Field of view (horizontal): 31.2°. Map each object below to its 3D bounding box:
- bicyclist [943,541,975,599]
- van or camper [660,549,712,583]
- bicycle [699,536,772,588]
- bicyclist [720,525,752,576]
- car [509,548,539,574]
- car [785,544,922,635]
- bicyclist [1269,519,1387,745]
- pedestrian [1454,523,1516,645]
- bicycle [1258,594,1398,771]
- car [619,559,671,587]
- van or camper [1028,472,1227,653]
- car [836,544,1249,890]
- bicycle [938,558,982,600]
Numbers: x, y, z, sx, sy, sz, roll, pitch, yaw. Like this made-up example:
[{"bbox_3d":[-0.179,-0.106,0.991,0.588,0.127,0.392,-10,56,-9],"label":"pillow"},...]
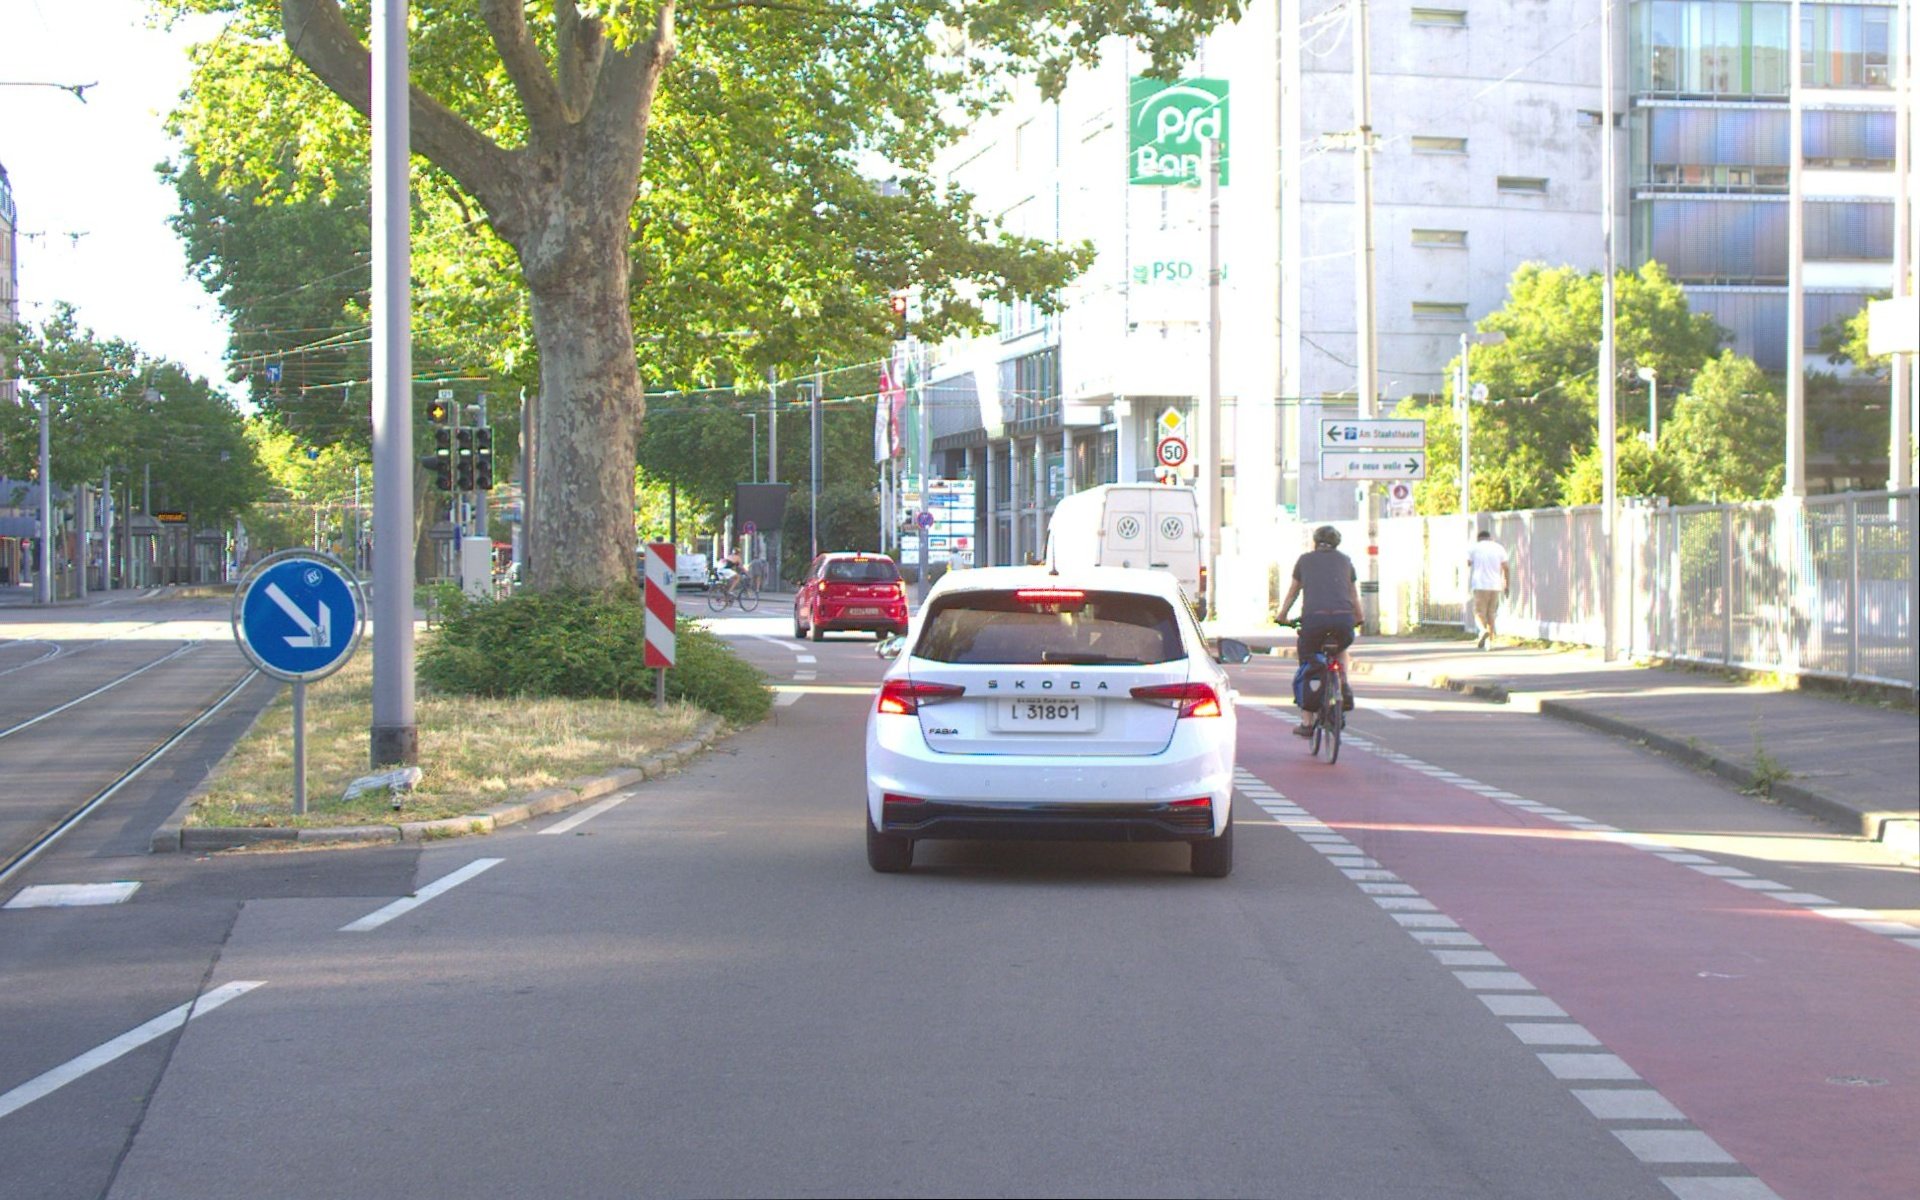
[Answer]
[{"bbox_3d":[-0.036,-0.862,97.212,0.785,1.629,0.639,0,1,-11],"label":"bicyclist"},{"bbox_3d":[-14.601,-1.840,183.013,2.145,1.744,4.433,-1,1,-12],"label":"van or camper"},{"bbox_3d":[-6.060,-1.032,93.006,1.989,1.374,0.647,-1,1,-42],"label":"bicycle"},{"bbox_3d":[-6.065,-1.340,92.998,0.605,1.384,0.636,-1,1,-41],"label":"bicyclist"},{"bbox_3d":[-27.540,-2.482,217.134,1.657,1.601,3.532,-1,1,-10],"label":"car"},{"bbox_3d":[-1.834,-0.206,58.142,1.839,1.484,3.717,0,1,-9],"label":"car"},{"bbox_3d":[2.766,0.232,25.911,0.743,1.663,0.745,2,1,-1],"label":"bicyclist"},{"bbox_3d":[7.567,-0.232,49.615,0.786,1.742,0.772,-1,1,2],"label":"pedestrian"},{"bbox_3d":[2.751,0.594,25.937,0.744,1.220,2.156,2,1,-1],"label":"bicycle"},{"bbox_3d":[-18.029,-1.565,196.500,2.477,1.523,4.433,-1,1,-11],"label":"car"},{"bbox_3d":[2.667,-0.628,56.472,2.268,2.724,6.348,2,1,-5],"label":"van or camper"},{"bbox_3d":[0.484,0.491,17.157,1.802,1.496,3.981,1,1,4],"label":"car"},{"bbox_3d":[-0.011,-0.607,97.100,0.792,1.157,2.500,0,1,-11],"label":"bicycle"}]
